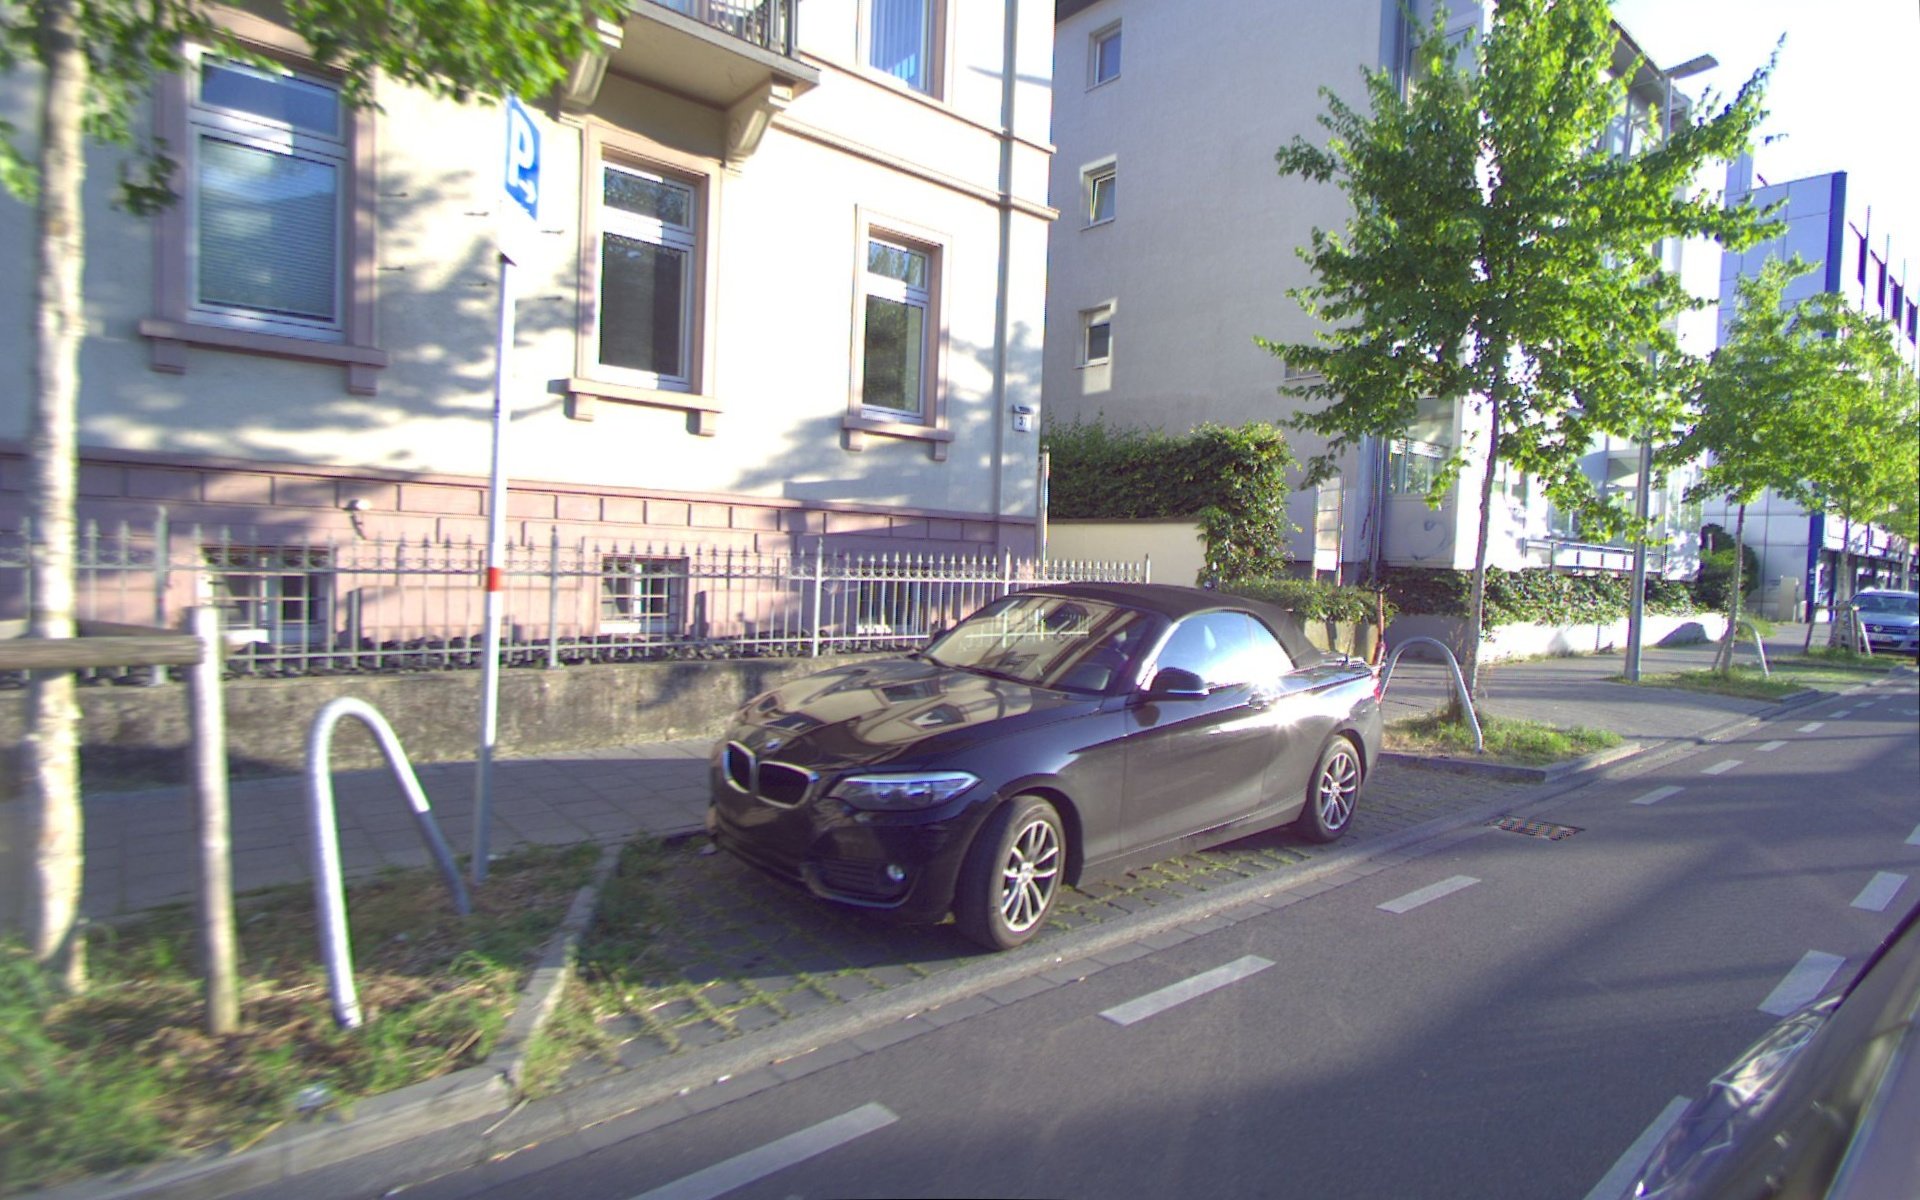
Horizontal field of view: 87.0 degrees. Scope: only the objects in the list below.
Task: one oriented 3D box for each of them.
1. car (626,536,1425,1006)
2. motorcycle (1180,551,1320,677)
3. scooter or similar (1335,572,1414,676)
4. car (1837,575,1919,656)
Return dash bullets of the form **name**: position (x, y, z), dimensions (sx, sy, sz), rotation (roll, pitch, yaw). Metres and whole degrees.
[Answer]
- **car**: position (0.673, 0.529, 5.526), dimensions (4.371, 1.488, 1.796), rotation (0, 6, -43)
- **motorcycle**: position (3.636, 0.150, 12.774), dimensions (0.616, 1.430, 1.498), rotation (2, 3, -44)
- **scooter or similar**: position (5.318, 0.281, 12.953), dimensions (1.188, 1.274, 0.491), rotation (-1, 2, -44)
- **car**: position (22.523, 0.350, 24.148), dimensions (4.181, 1.727, 1.858), rotation (0, 4, -42)
